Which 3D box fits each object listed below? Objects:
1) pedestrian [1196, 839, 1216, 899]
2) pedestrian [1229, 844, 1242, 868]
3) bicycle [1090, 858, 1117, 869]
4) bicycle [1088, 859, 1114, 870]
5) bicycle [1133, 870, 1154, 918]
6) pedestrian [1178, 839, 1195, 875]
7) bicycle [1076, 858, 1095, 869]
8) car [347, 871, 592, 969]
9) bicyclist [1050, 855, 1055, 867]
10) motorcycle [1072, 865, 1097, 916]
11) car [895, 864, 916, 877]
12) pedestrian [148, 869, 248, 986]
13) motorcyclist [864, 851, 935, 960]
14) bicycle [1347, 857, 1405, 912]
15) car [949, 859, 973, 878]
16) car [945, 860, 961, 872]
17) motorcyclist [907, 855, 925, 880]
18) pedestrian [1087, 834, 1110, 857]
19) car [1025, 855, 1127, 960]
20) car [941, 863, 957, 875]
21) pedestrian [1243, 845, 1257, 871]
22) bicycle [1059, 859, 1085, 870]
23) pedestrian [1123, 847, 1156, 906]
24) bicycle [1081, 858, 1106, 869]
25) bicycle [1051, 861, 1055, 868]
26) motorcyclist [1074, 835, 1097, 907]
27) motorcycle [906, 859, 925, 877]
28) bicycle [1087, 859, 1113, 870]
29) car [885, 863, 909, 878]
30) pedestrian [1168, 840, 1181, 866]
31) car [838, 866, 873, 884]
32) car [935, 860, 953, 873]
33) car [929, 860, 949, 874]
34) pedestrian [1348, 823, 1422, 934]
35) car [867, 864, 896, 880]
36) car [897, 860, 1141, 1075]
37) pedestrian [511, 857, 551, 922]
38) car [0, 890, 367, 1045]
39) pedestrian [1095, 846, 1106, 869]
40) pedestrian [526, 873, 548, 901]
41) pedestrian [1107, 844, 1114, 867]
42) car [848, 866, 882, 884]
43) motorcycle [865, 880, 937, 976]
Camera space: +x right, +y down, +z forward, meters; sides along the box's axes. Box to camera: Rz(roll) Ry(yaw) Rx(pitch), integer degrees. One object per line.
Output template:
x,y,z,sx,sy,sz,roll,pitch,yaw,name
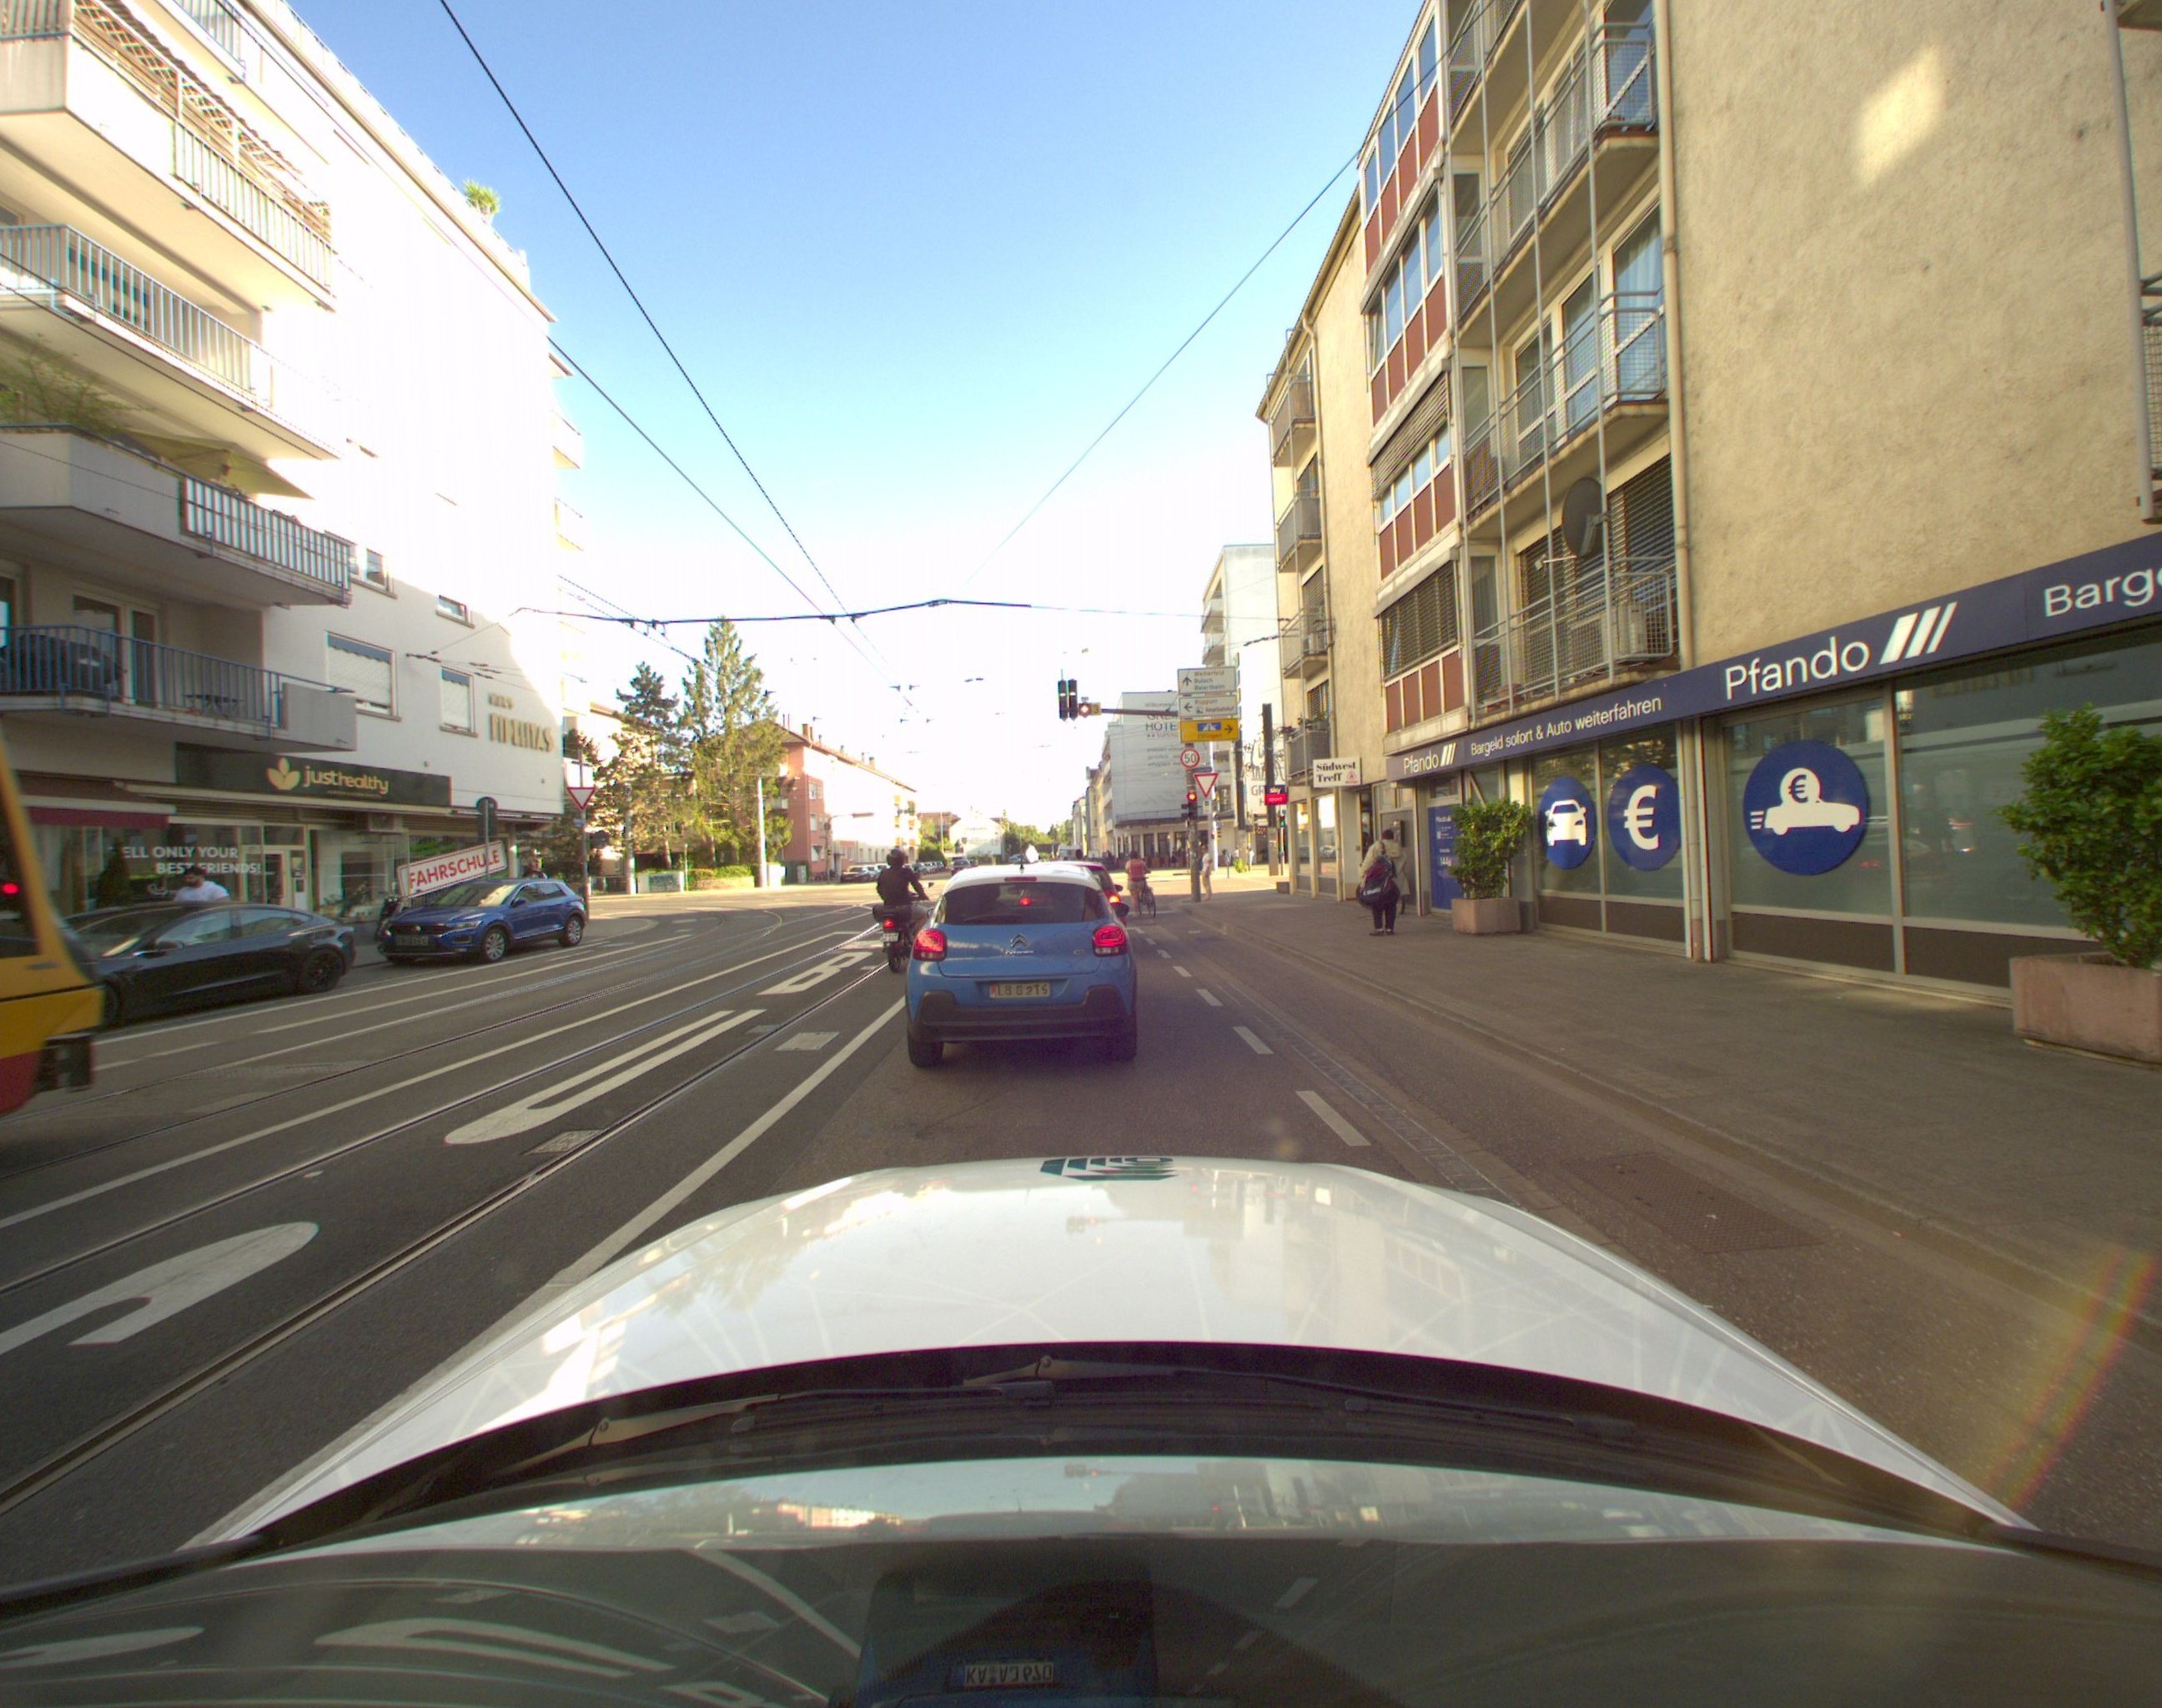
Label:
3.730,0.441,24.307,0.515,1.783,0.595,0,-1,0,pedestrian
10.252,0.129,54.049,0.730,1.601,0.751,-1,-1,15,pedestrian
1.810,0.774,66.099,2.130,0.901,0.366,0,-1,-7,bicycle
1.662,0.870,67.221,2.130,0.901,0.366,0,-1,-7,bicycle
1.565,0.977,20.636,0.426,1.123,1.999,0,-1,2,bicycle
6.073,0.174,46.909,0.922,2.014,0.760,0,-1,1,pedestrian
0.396,0.825,69.503,1.765,0.901,0.369,-1,-1,36,bicycle
-11.925,1.197,16.294,1.864,1.531,4.068,-2,0,-2,car
-3.558,0.888,103.091,0.559,1.477,0.748,0,-1,1,bicyclist
0.107,0.837,19.565,0.524,1.139,2.290,0,-1,2,motorcycle
-19.952,1.856,92.749,1.728,1.498,3.996,0,-1,-2,car
-14.190,1.152,13.111,0.689,1.803,0.812,0,-1,1,pedestrian
-2.567,0.712,11.577,0.857,1.505,0.598,0,-1,1,motorcyclist
5.689,0.567,15.771,0.540,0.998,1.706,0,-1,2,bicycle
-11.306,1.346,76.808,1.770,1.666,3.854,0,-1,-2,car
-19.177,1.773,121.996,1.841,1.687,3.872,0,-1,-1,car
-13.697,1.081,67.672,1.182,2.013,1.275,-2,0,-1,motorcyclist
1.623,-0.723,73.697,1.986,2.014,4.001,0,-1,2,pedestrian
-0.029,0.791,13.307,1.419,1.467,2.925,-2,-1,2,car
-19.017,2.086,117.378,1.828,1.687,3.998,0,-1,-1,car
10.786,0.264,51.915,0.746,1.657,0.887,-1,-1,18,pedestrian
-0.714,0.881,66.371,2.130,0.901,0.366,0,-1,-7,bicycle
1.457,0.556,20.335,0.774,1.460,0.682,0,-1,1,pedestrian
1.043,0.825,68.492,2.130,0.901,0.366,0,-1,-7,bicycle
-3.543,1.302,103.160,0.347,0.903,1.859,0,-1,0,bicycle
0.114,0.404,19.757,0.524,1.716,0.717,0,-1,1,motorcyclist
-13.702,1.158,67.540,0.921,1.486,3.724,0,-1,-1,motorcycle
1.603,0.853,67.640,2.130,0.901,0.366,0,-1,-7,bicycle
-19.640,1.740,87.054,1.781,1.498,3.998,0,-1,-1,car
7.503,-0.069,65.379,0.750,2.014,0.716,-1,-1,42,pedestrian
-19.186,1.785,69.430,1.787,1.421,3.996,0,-1,1,car
-18.806,1.690,112.165,1.877,1.687,3.998,0,-1,-1,car
-18.677,1.682,106.977,1.978,1.687,3.998,0,-1,-1,car
4.525,0.355,12.162,0.822,1.593,0.751,0,-1,1,pedestrian
-19.517,1.749,79.970,1.781,1.511,4.150,0,-1,1,car
-0.364,0.781,7.276,1.648,1.444,3.524,0,-1,2,car
-17.231,1.103,25.537,0.767,2.014,0.694,0,-1,-4,pedestrian
-12.012,1.291,10.453,1.816,1.387,4.425,-3,0,-2,car
1.641,0.302,69.356,0.635,2.014,0.717,0,-1,-34,pedestrian
-36.520,2.209,54.651,0.896,1.791,0.808,0,-1,6,pedestrian
2.514,0.148,70.376,0.575,2.014,0.625,0,-1,-1,pedestrian
-19.561,1.876,73.876,1.808,1.498,4.302,0,-1,2,car
-2.555,1.009,11.750,0.535,1.219,1.982,0,-1,2,motorcycle
